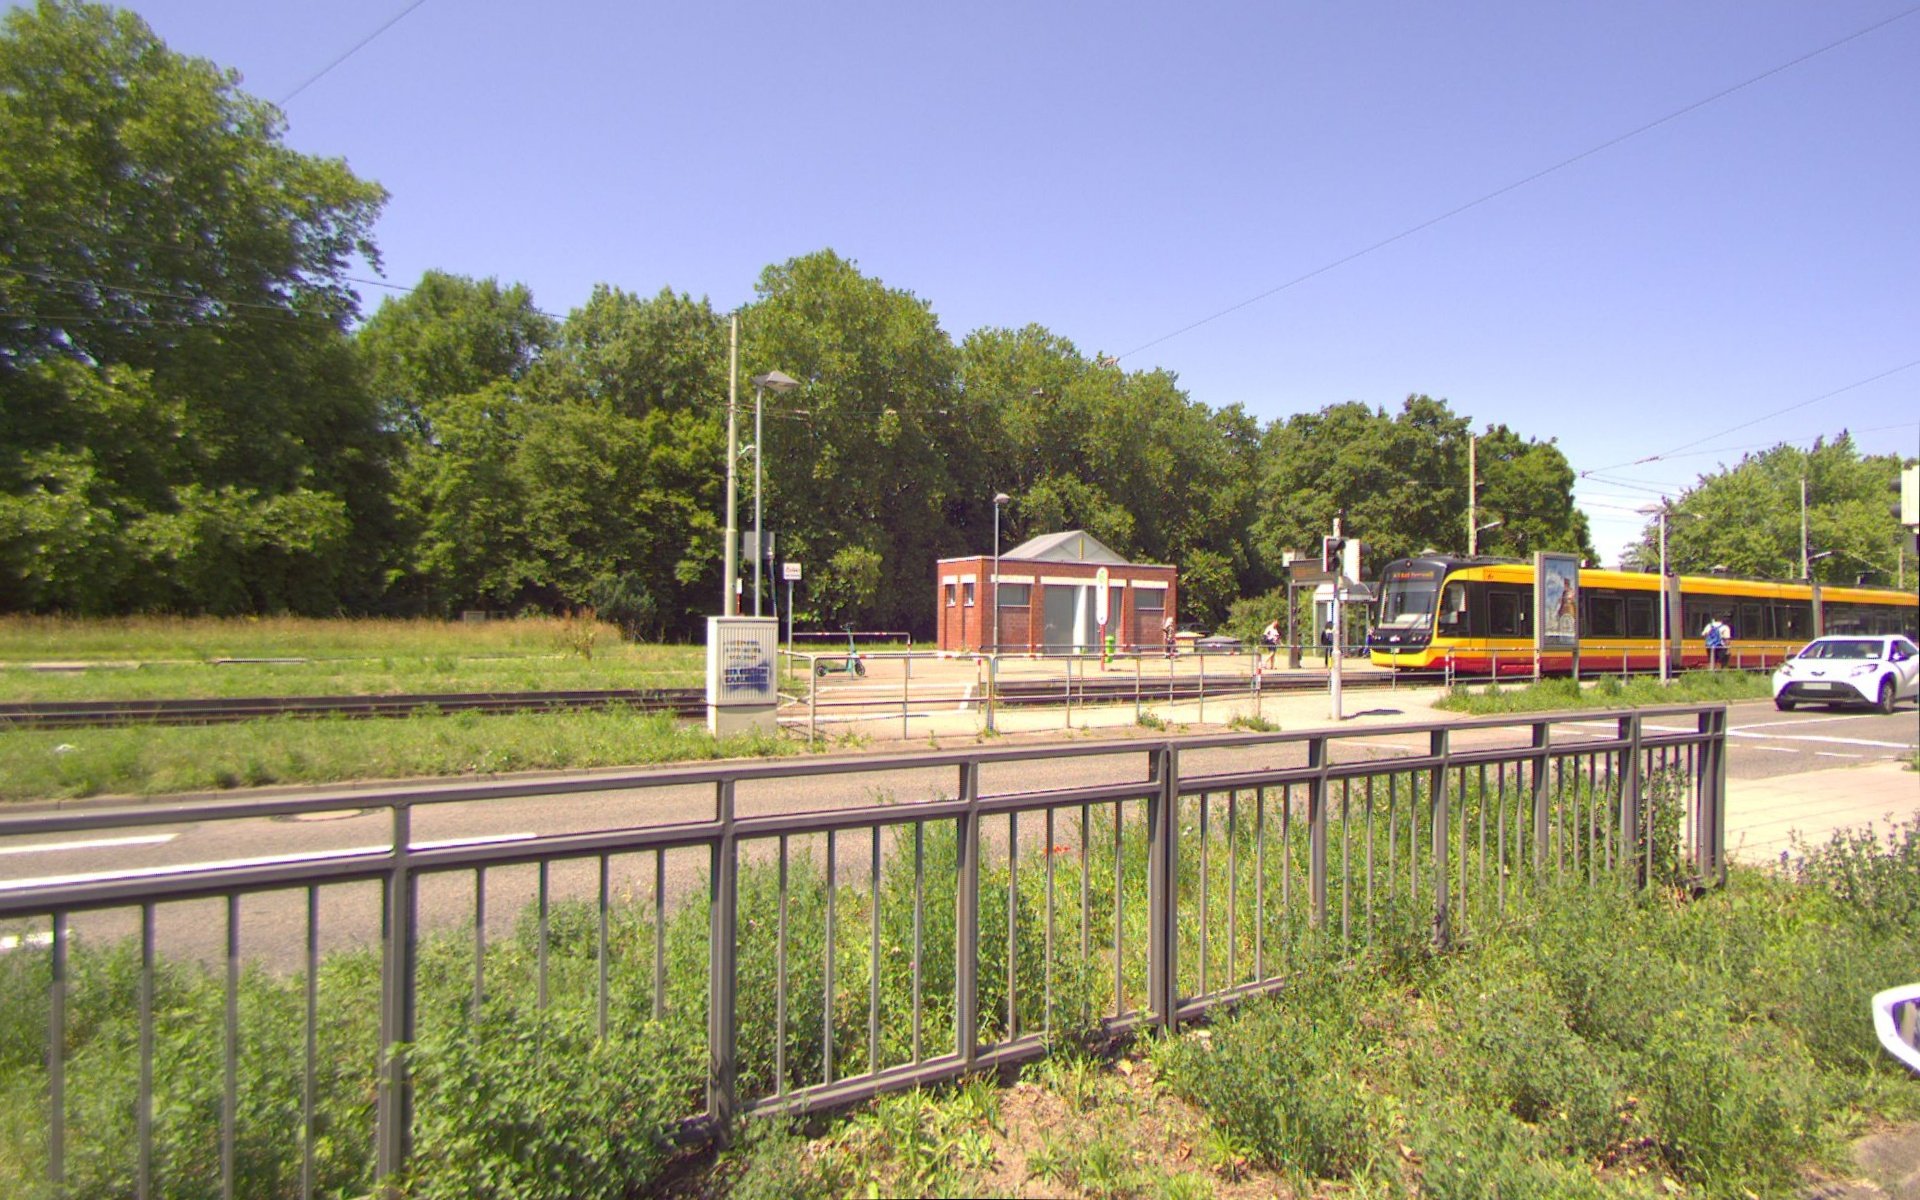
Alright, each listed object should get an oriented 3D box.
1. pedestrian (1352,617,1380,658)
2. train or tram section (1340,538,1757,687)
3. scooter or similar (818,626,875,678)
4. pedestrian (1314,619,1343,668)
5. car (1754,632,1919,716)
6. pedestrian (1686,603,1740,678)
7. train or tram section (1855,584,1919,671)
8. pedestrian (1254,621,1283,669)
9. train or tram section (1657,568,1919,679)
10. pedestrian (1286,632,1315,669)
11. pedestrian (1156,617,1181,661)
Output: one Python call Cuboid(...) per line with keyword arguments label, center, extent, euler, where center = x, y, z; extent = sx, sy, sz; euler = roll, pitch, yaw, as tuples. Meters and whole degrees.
Cuboid(label="pedestrian", center=(16.331, 1.511, 40.406), extent=(0.799, 1.611, 0.668), euler=(1, -1, -30))
Cuboid(label="train or tram section", center=(19.895, 0.535, 32.820), extent=(18.281, 3.984, 3.200), euler=(1, -1, -30))
Cuboid(label="scooter or similar", center=(-2.638, 1.204, 23.445), extent=(1.217, 1.183, 0.508), euler=(1, -1, -30))
Cuboid(label="pedestrian", center=(11.881, 1.392, 32.367), extent=(0.688, 1.575, 0.629), euler=(1, -1, -42))
Cuboid(label="car", center=(18.035, 1.435, 20.363), extent=(3.747, 1.514, 1.836), euler=(1, -1, -30))
Cuboid(label="pedestrian", center=(18.886, 1.000, 25.189), extent=(0.832, 1.802, 0.714), euler=(-1, 5, -30))
Cuboid(label="train or tram section", center=(49.772, 1.459, 52.673), extent=(18.380, 3.984, 3.183), euler=(2, -1, -45))
Cuboid(label="pedestrian", center=(9.537, 1.383, 31.068), extent=(0.576, 1.476, 0.636), euler=(1, -1, -30))
Cuboid(label="train or tram section", center=(35.634, 1.067, 42.045), extent=(18.281, 3.984, 3.200), euler=(1, -1, -30))
Cuboid(label="pedestrian", center=(10.865, 1.603, 32.056), extent=(0.563, 1.139, 0.636), euler=(1, -1, -30))
Cuboid(label="pedestrian", center=(7.145, 1.333, 34.449), extent=(0.563, 1.499, 0.636), euler=(1, -1, -30))
